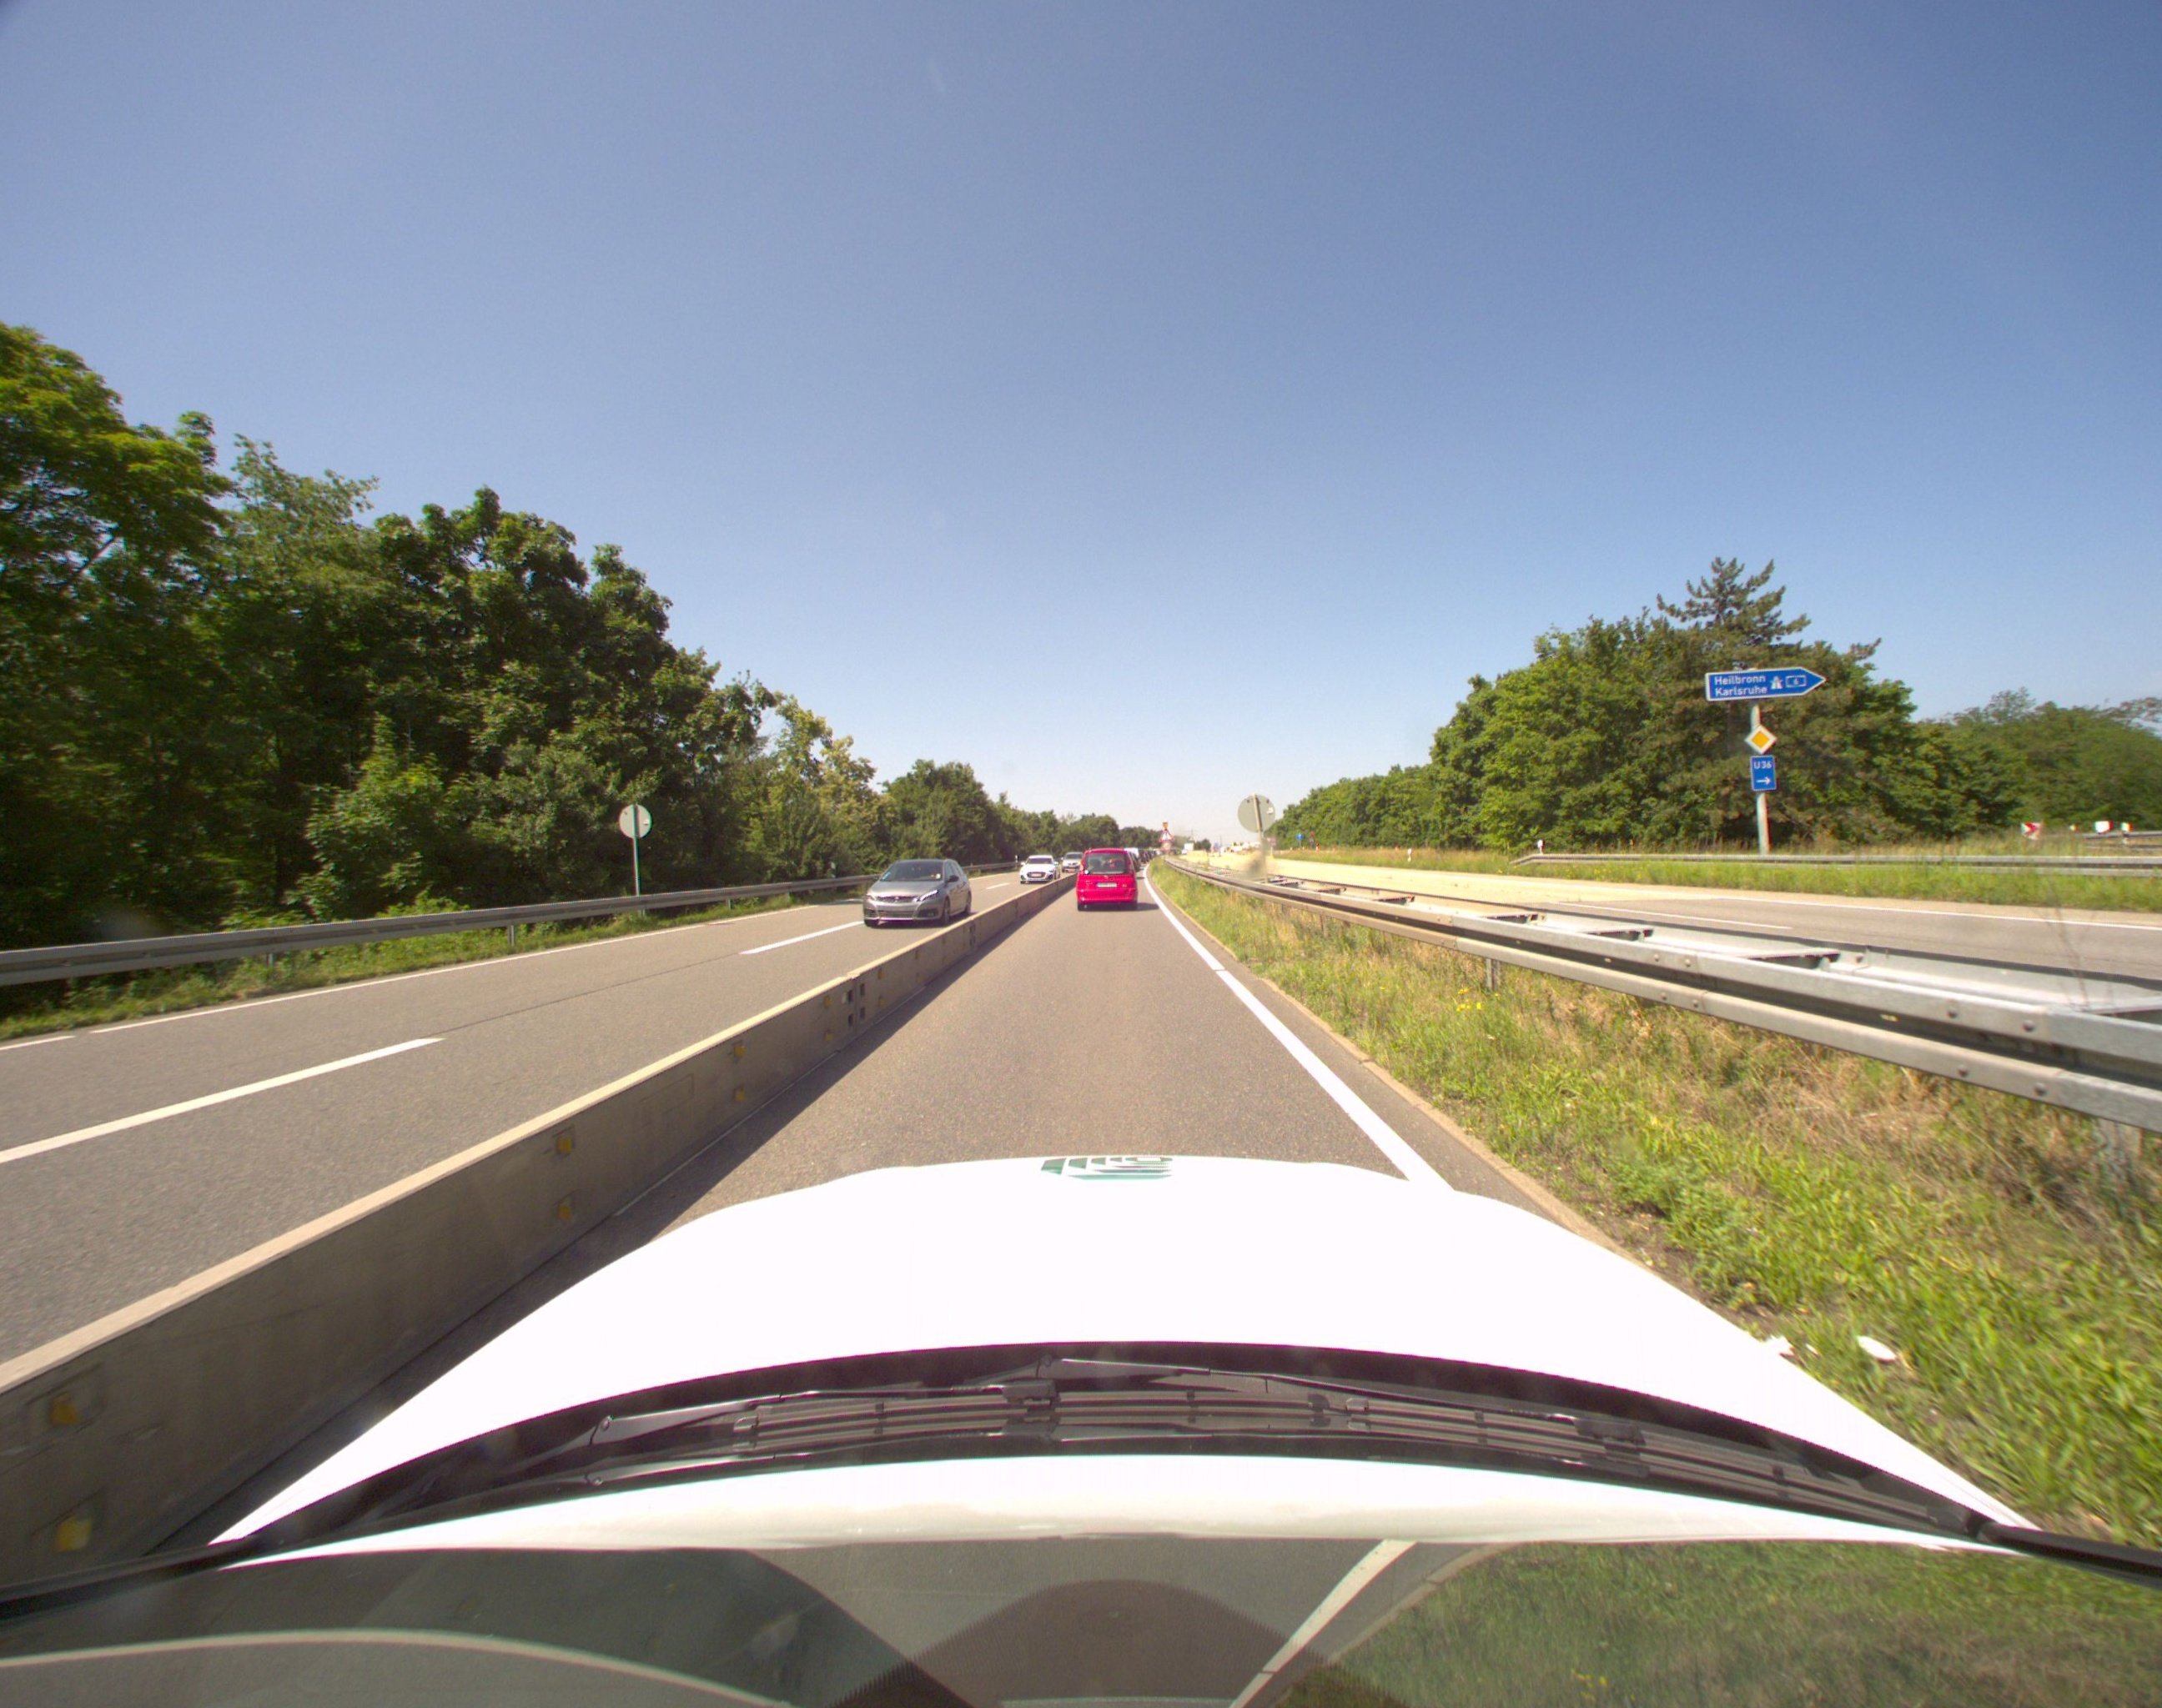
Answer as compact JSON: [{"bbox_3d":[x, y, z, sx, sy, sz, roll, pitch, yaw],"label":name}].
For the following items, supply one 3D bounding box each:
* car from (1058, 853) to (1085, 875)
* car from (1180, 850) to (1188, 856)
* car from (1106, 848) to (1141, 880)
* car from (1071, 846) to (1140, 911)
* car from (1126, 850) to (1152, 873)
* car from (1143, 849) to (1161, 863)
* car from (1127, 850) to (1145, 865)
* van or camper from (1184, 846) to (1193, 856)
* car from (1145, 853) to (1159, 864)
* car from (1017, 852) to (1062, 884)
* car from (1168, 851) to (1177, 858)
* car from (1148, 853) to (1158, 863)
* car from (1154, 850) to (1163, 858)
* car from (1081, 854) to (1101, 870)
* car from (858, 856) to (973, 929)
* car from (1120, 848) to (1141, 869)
[{"bbox_3d":[-0.729,0.761,63.950,1.821,1.630,3.787,-1,0,3],"label":"car"},{"bbox_3d":[28.176,-0.205,223.173,1.984,1.486,4.005,-2,0,5],"label":"car"},{"bbox_3d":[2.443,0.538,47.543,1.824,1.722,4.001,-2,0,1],"label":"car"},{"bbox_3d":[0.685,0.636,23.200,1.745,1.673,4.001,-1,0,1],"label":"car"},{"bbox_3d":[4.800,0.597,68.120,1.986,1.838,4.001,-2,0,1],"label":"car"},{"bbox_3d":[9.389,0.256,107.669,1.986,1.783,4.001,-2,0,1],"label":"car"},{"bbox_3d":[6.379,0.399,95.605,1.985,1.750,4.003,-2,0,2],"label":"car"},{"bbox_3d":[30.963,-0.897,235.084,2.318,2.707,4.598,-2,0,4],"label":"van or camper"},{"bbox_3d":[10.611,0.701,122.624,1.985,1.585,4.004,-1,0,3],"label":"car"},{"bbox_3d":[-2.129,0.716,42.981,1.941,1.539,4.437,-2,0,2],"label":"car"},{"bbox_3d":[21.280,0.120,189.413,1.984,1.552,4.006,-1,0,6],"label":"car"},{"bbox_3d":[12.136,0.645,137.050,1.494,1.736,3.175,-1,0,6],"label":"car"},{"bbox_3d":[14.242,-0.001,149.696,1.413,1.298,2.886,-1,0,8],"label":"car"},{"bbox_3d":[0.982,0.781,82.992,1.942,1.579,4.436,-1,0,1],"label":"car"},{"bbox_3d":[-3.743,0.818,19.218,1.719,1.496,4.389,-1,0,1],"label":"car"},{"bbox_3d":[4.972,0.419,81.317,1.985,2.003,4.003,-2,0,3],"label":"car"}]
